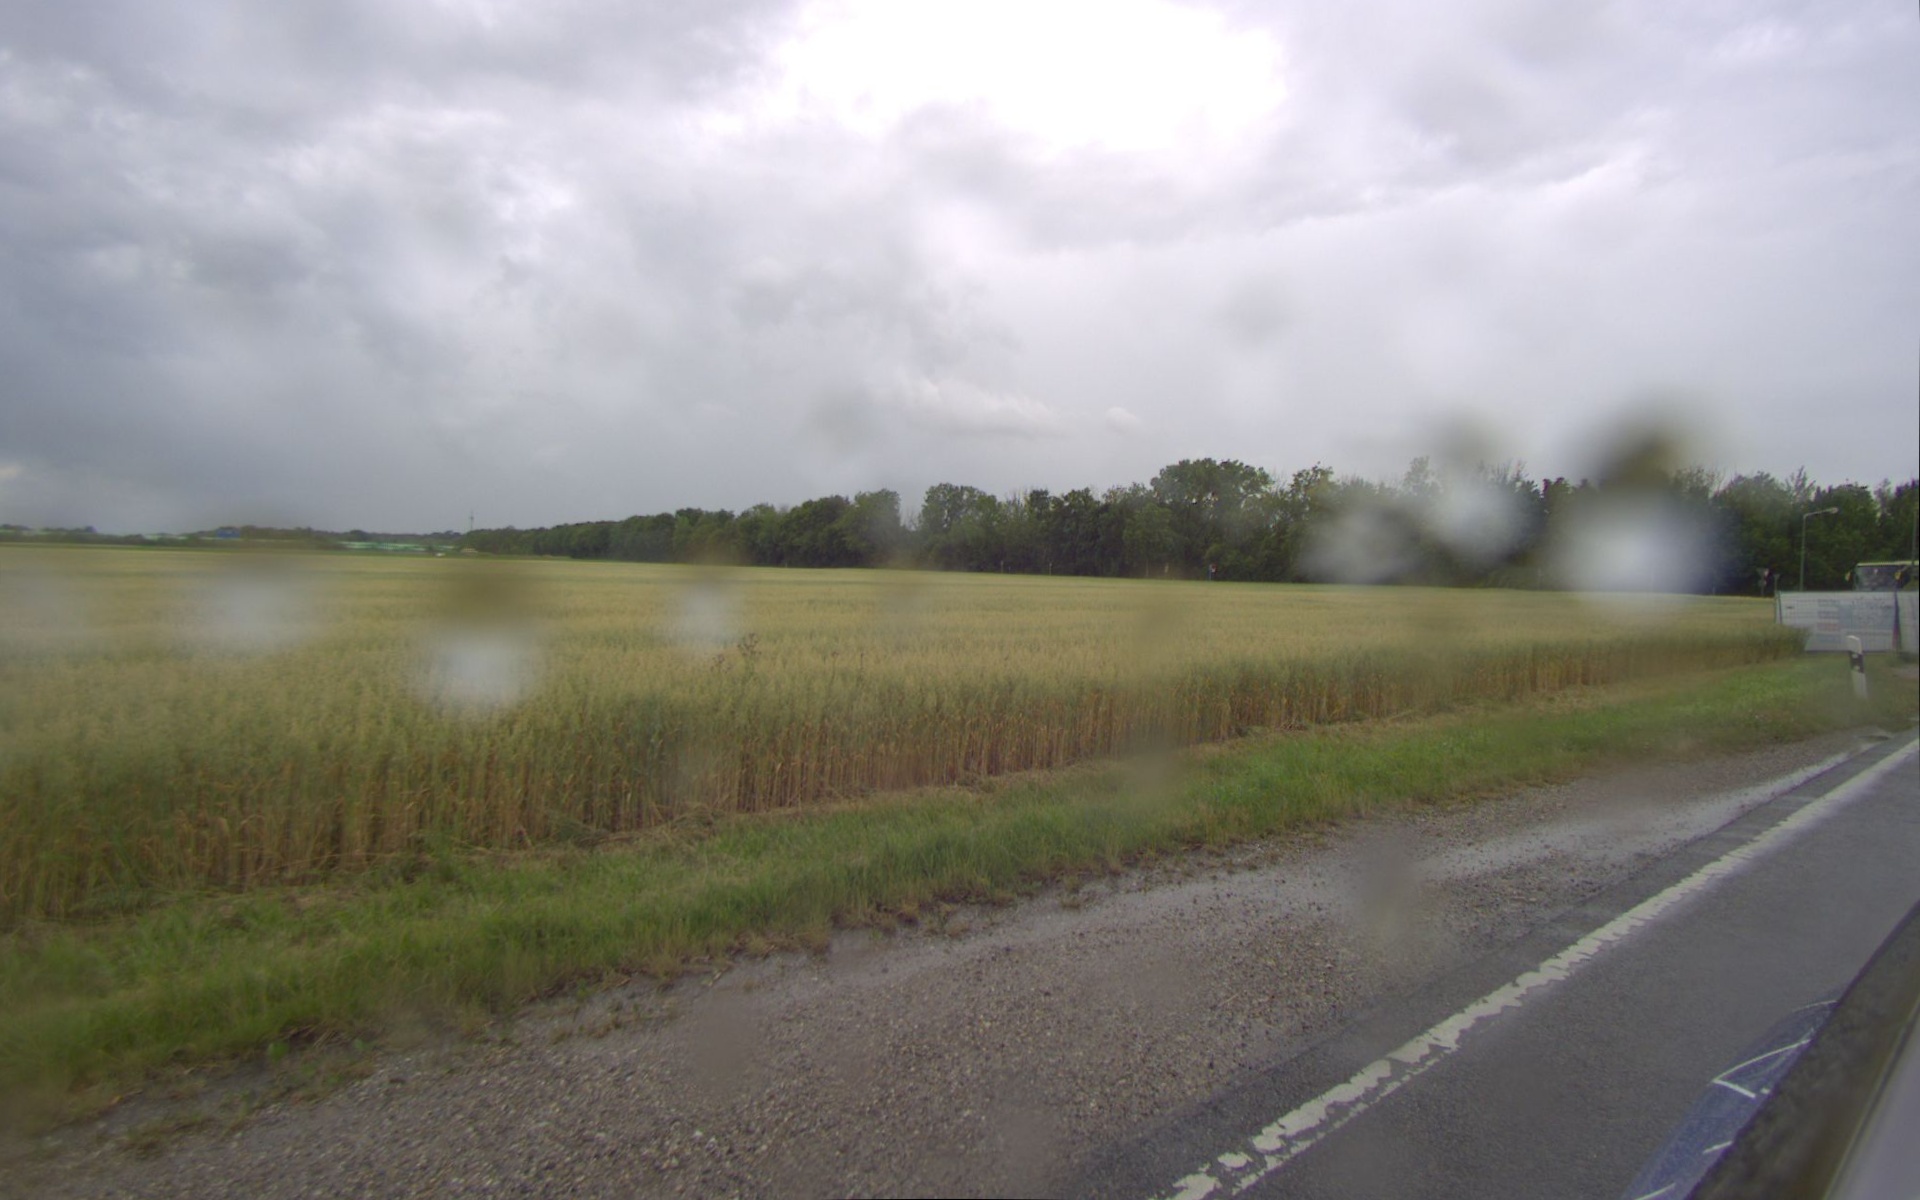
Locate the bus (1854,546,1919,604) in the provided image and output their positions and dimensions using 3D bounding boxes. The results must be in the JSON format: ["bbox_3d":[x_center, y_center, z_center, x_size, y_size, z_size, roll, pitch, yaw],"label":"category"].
[{"bbox_3d":[67.814,-1.668,70.505,13.999,3.731,3.004,0,2,-26],"label":"bus"}]
